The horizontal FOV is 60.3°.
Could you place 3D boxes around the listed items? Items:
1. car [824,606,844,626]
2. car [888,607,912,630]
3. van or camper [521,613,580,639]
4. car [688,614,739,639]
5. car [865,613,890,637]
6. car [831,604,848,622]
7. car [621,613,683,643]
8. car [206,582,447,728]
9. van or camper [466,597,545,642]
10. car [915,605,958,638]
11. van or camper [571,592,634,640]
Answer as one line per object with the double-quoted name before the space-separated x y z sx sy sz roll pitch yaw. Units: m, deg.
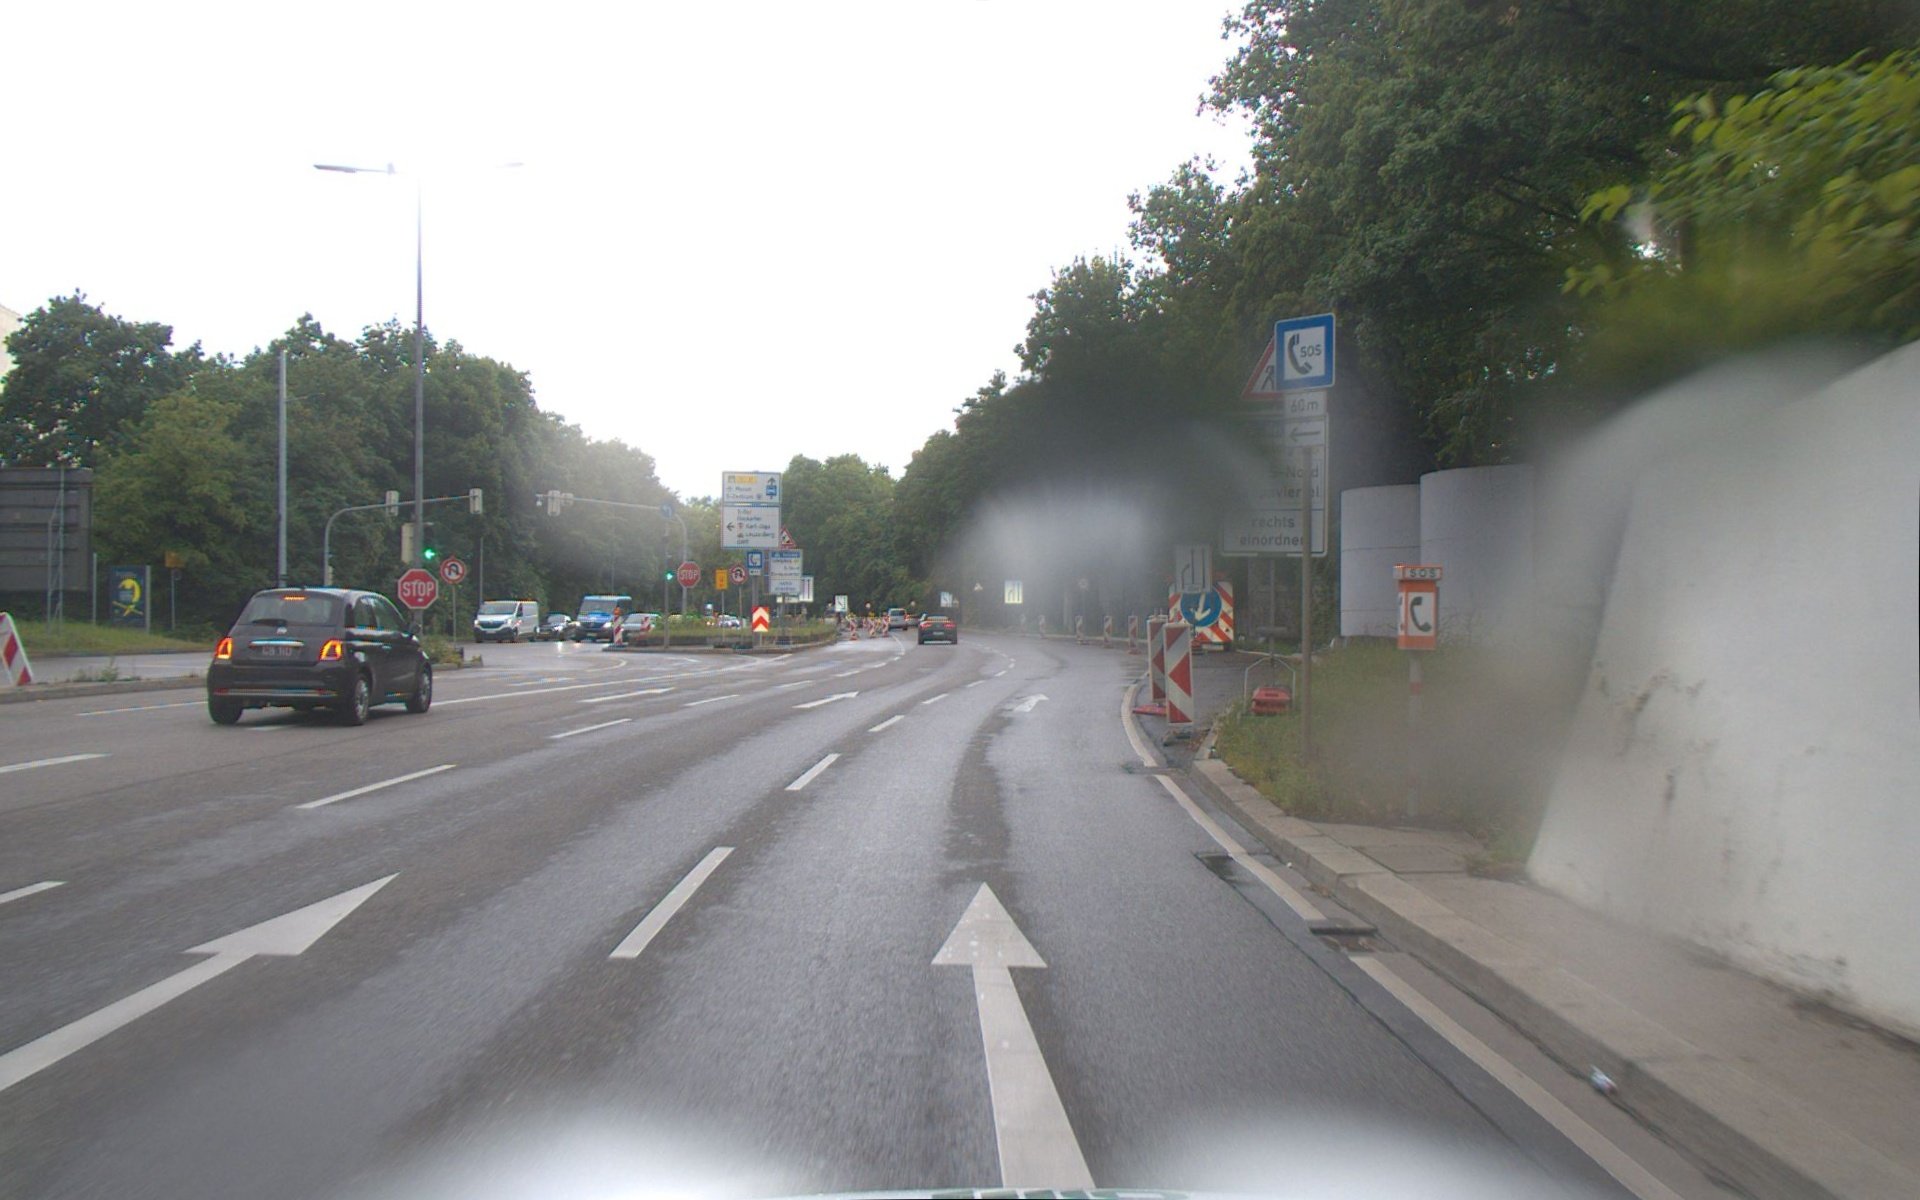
"car" -13.692 1.712 179.520 1.955 2.049 3.995 1 0 -6
"car" -5.543 1.715 152.869 1.955 2.049 3.995 1 0 -6
"van or camper" -21.378 1.359 86.456 1.967 1.324 4.092 0 -1 2
"car" -13.346 1.440 89.737 1.967 1.324 4.316 0 -1 2
"car" -7.298 2.237 146.433 1.955 2.049 3.995 1 0 -6
"car" -14.131 1.483 193.910 1.955 2.049 3.995 1 0 -6
"car" -14.438 1.305 77.750 1.967 1.324 4.316 0 -1 2
"car" -7.204 0.563 19.147 1.580 1.479 3.570 2 1 -4
"van or camper" -21.357 0.906 77.965 2.084 2.049 5.315 0 -1 2
"car" -1.072 0.998 77.730 1.953 1.473 4.314 0 -1 0
"van or camper" -18.152 0.821 84.127 2.084 2.390 4.427 0 -1 2
